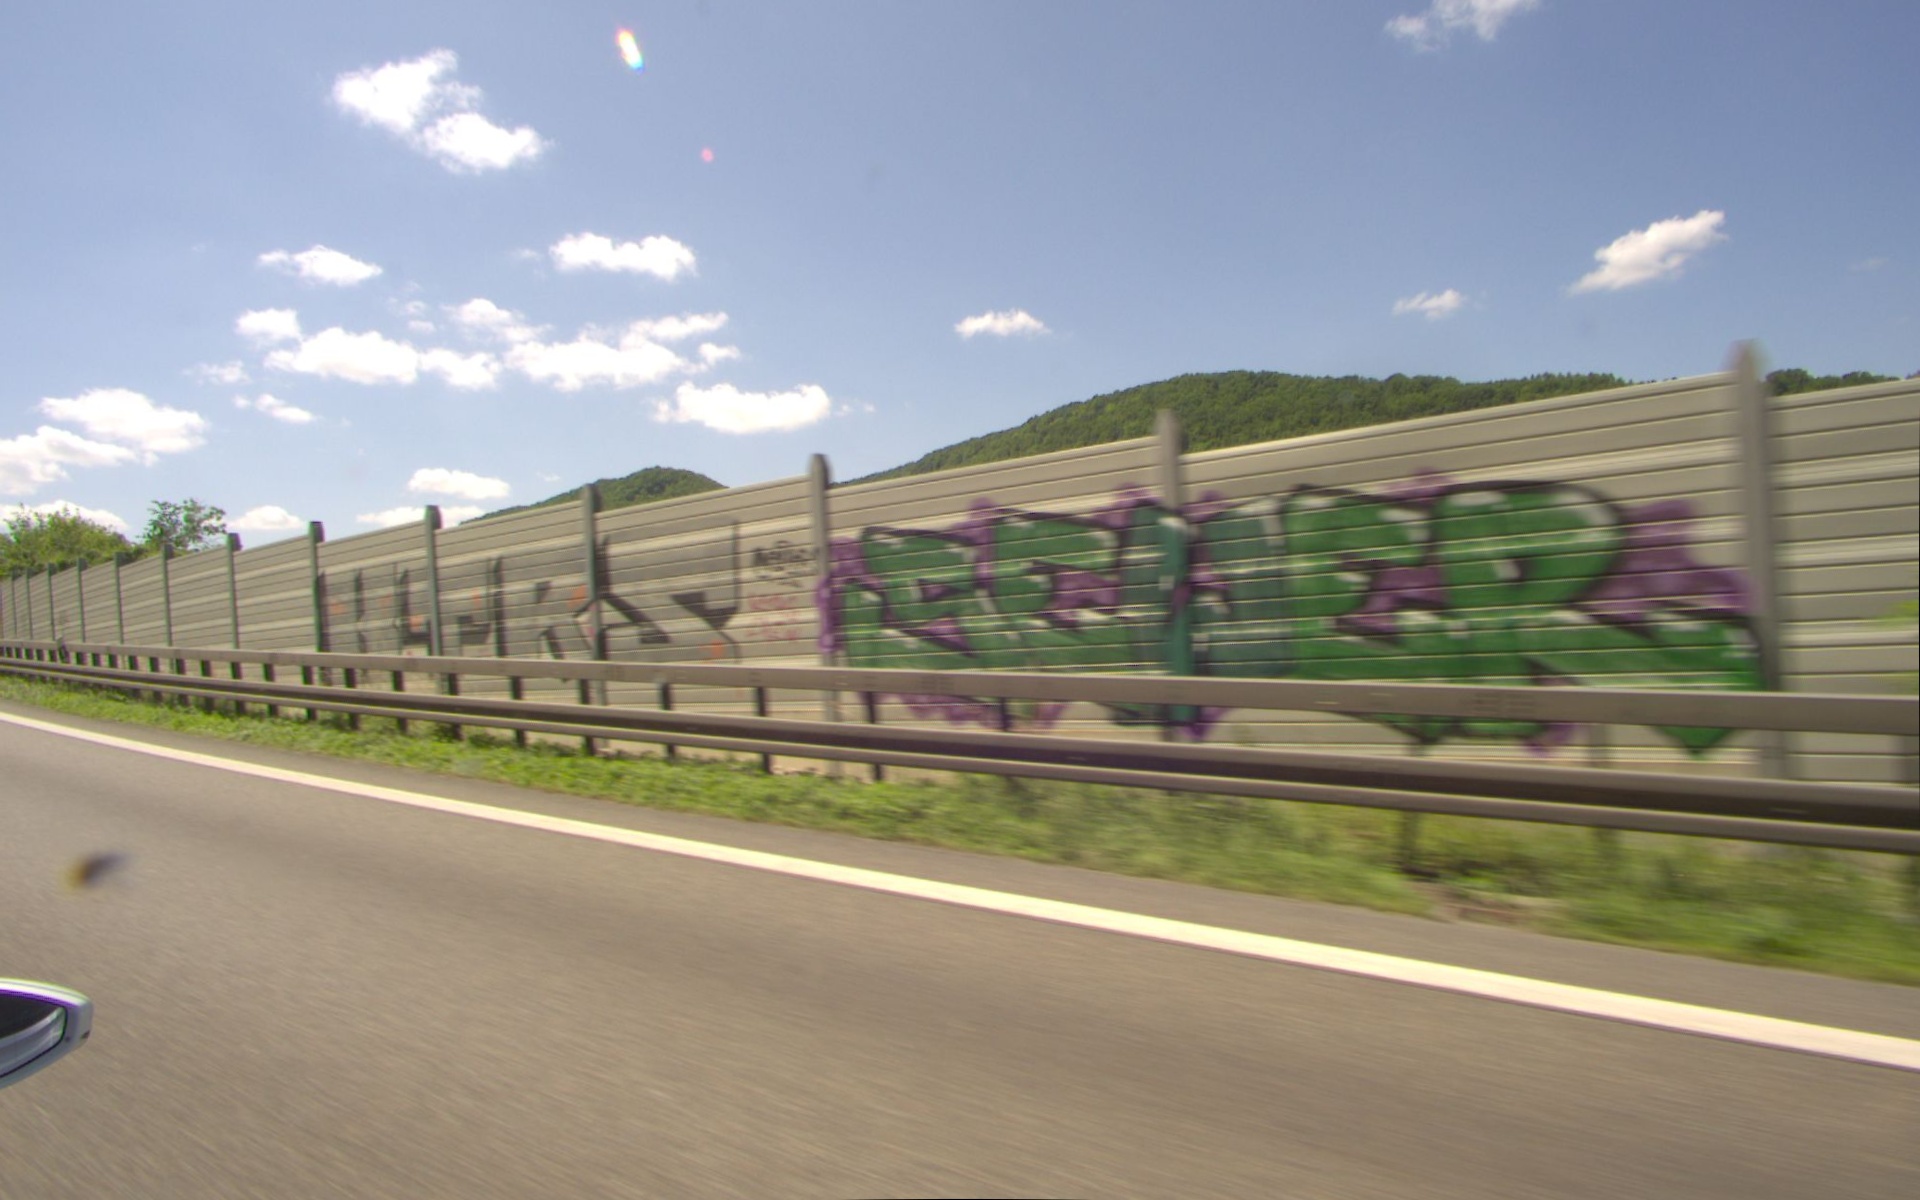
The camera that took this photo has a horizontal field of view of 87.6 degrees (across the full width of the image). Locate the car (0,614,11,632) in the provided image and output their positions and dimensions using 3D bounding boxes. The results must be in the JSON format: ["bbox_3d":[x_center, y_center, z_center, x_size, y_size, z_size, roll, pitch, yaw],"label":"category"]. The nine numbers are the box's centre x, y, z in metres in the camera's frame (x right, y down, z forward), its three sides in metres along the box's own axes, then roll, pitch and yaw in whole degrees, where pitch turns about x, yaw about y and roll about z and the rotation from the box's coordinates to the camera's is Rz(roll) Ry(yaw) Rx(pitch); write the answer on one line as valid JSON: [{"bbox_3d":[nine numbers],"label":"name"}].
[{"bbox_3d":[-97.106,2.288,100.427,1.973,1.740,3.975,-1,0,-33],"label":"car"}]
